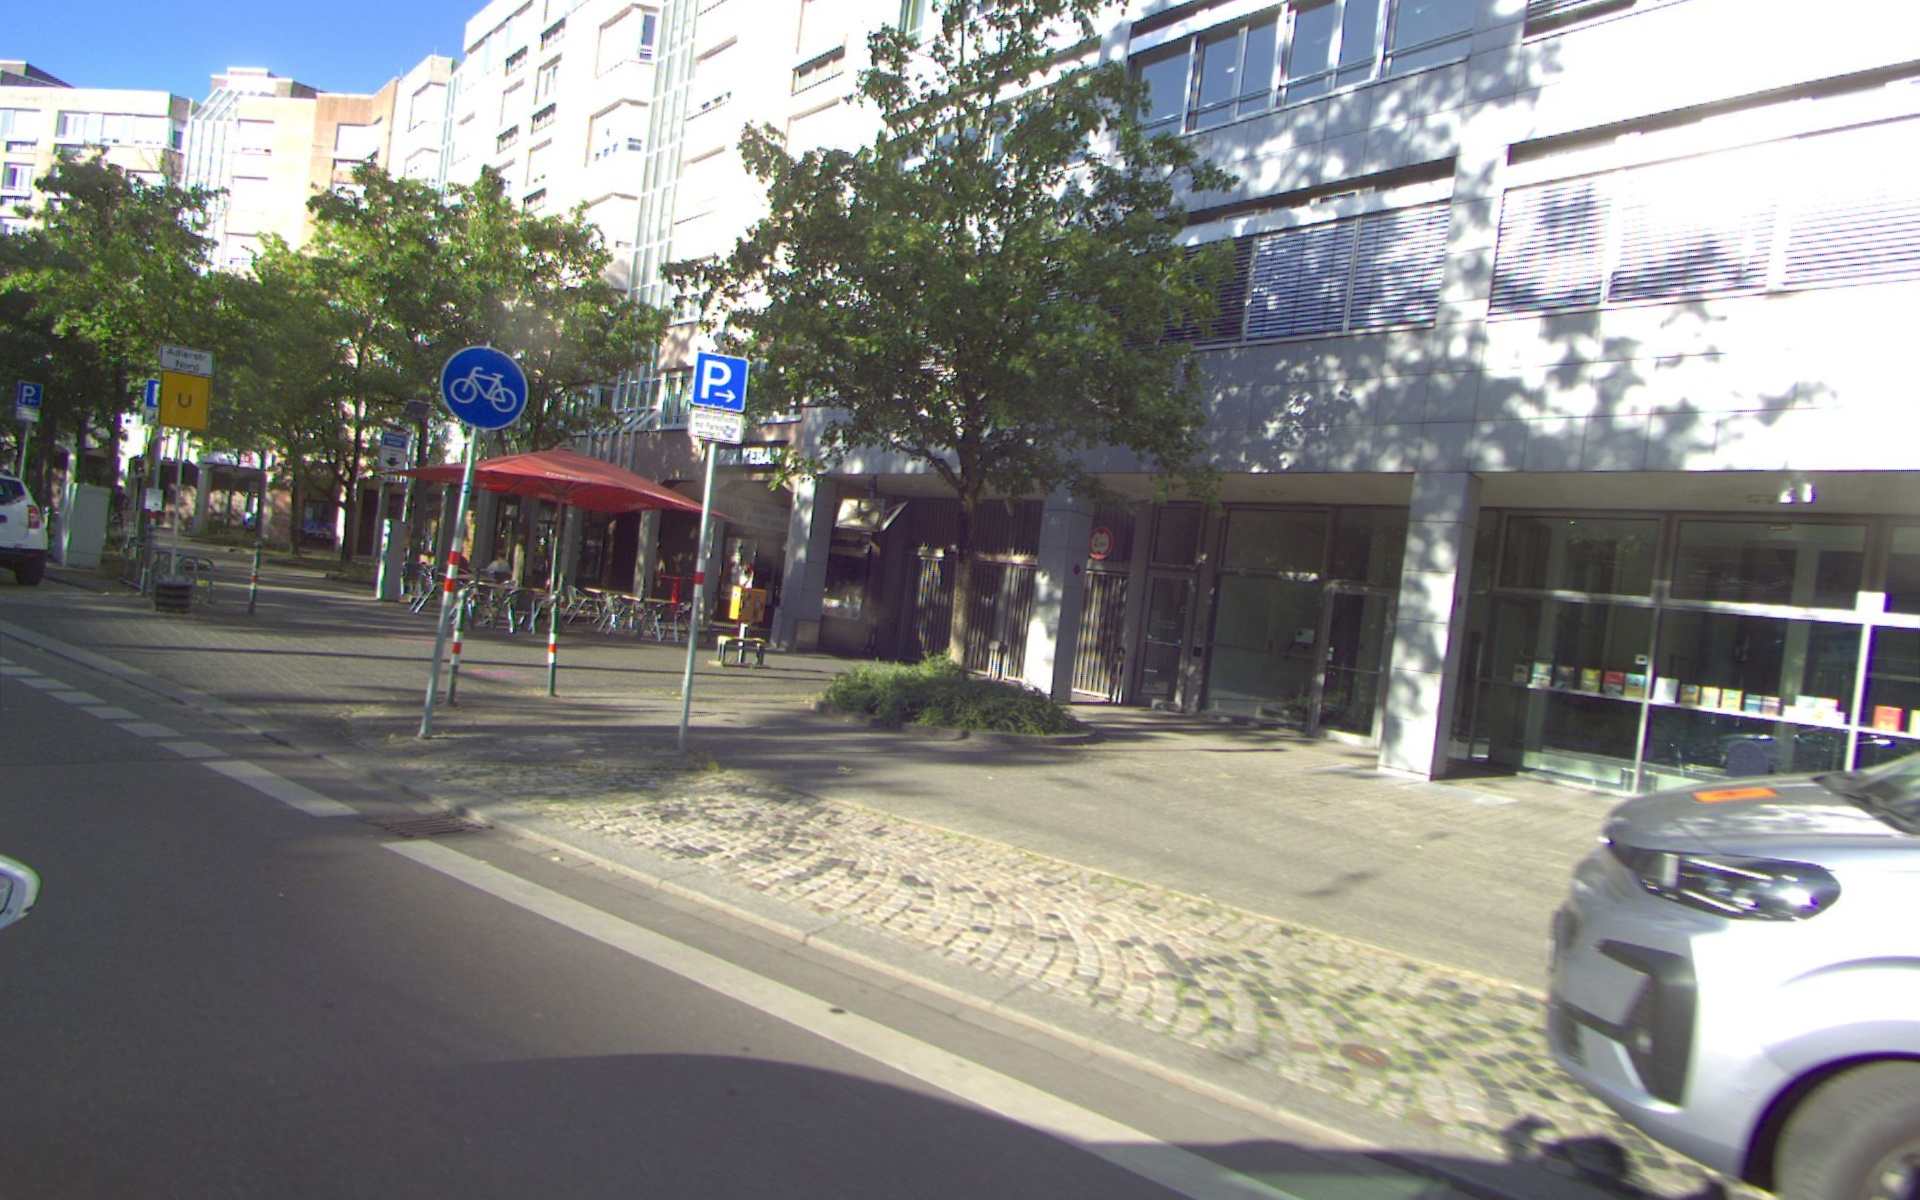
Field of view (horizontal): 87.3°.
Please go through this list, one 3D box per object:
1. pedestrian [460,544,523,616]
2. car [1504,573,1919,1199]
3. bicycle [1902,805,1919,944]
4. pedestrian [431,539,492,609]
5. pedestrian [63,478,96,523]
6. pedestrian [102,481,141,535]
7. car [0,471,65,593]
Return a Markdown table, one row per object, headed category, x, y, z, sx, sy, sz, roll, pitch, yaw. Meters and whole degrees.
| category | x | y | z | sx | sy | sz | roll | pitch | yaw |
| --- | --- | --- | --- | --- | --- | --- | --- | --- | --- |
| pedestrian | -11.256 | -0.467 | 24.175 | 0.978 | 1.566 | 0.870 | 8 | 1 | 35 |
| car | 4.274 | 1.128 | 2.522 | 4.843 | 1.868 | 1.922 | 7 | 3 | 32 |
| bicycle | 6.141 | 1.610 | 5.615 | 0.728 | 1.114 | 1.870 | 7 | 0 | 29 |
| pedestrian | -12.337 | -0.633 | 24.899 | 0.979 | 1.566 | 0.870 | 8 | 1 | 38 |
| pedestrian | -40.750 | -4.605 | 46.561 | 1.043 | 1.907 | 0.867 | 8 | 1 | 39 |
| pedestrian | -34.312 | -3.770 | 41.170 | 0.868 | 2.039 | 0.867 | 8 | 1 | 33 |
| car | -15.174 | -1.183 | 15.001 | 3.807 | 1.659 | 1.859 | 7 | 1 | 35 |
